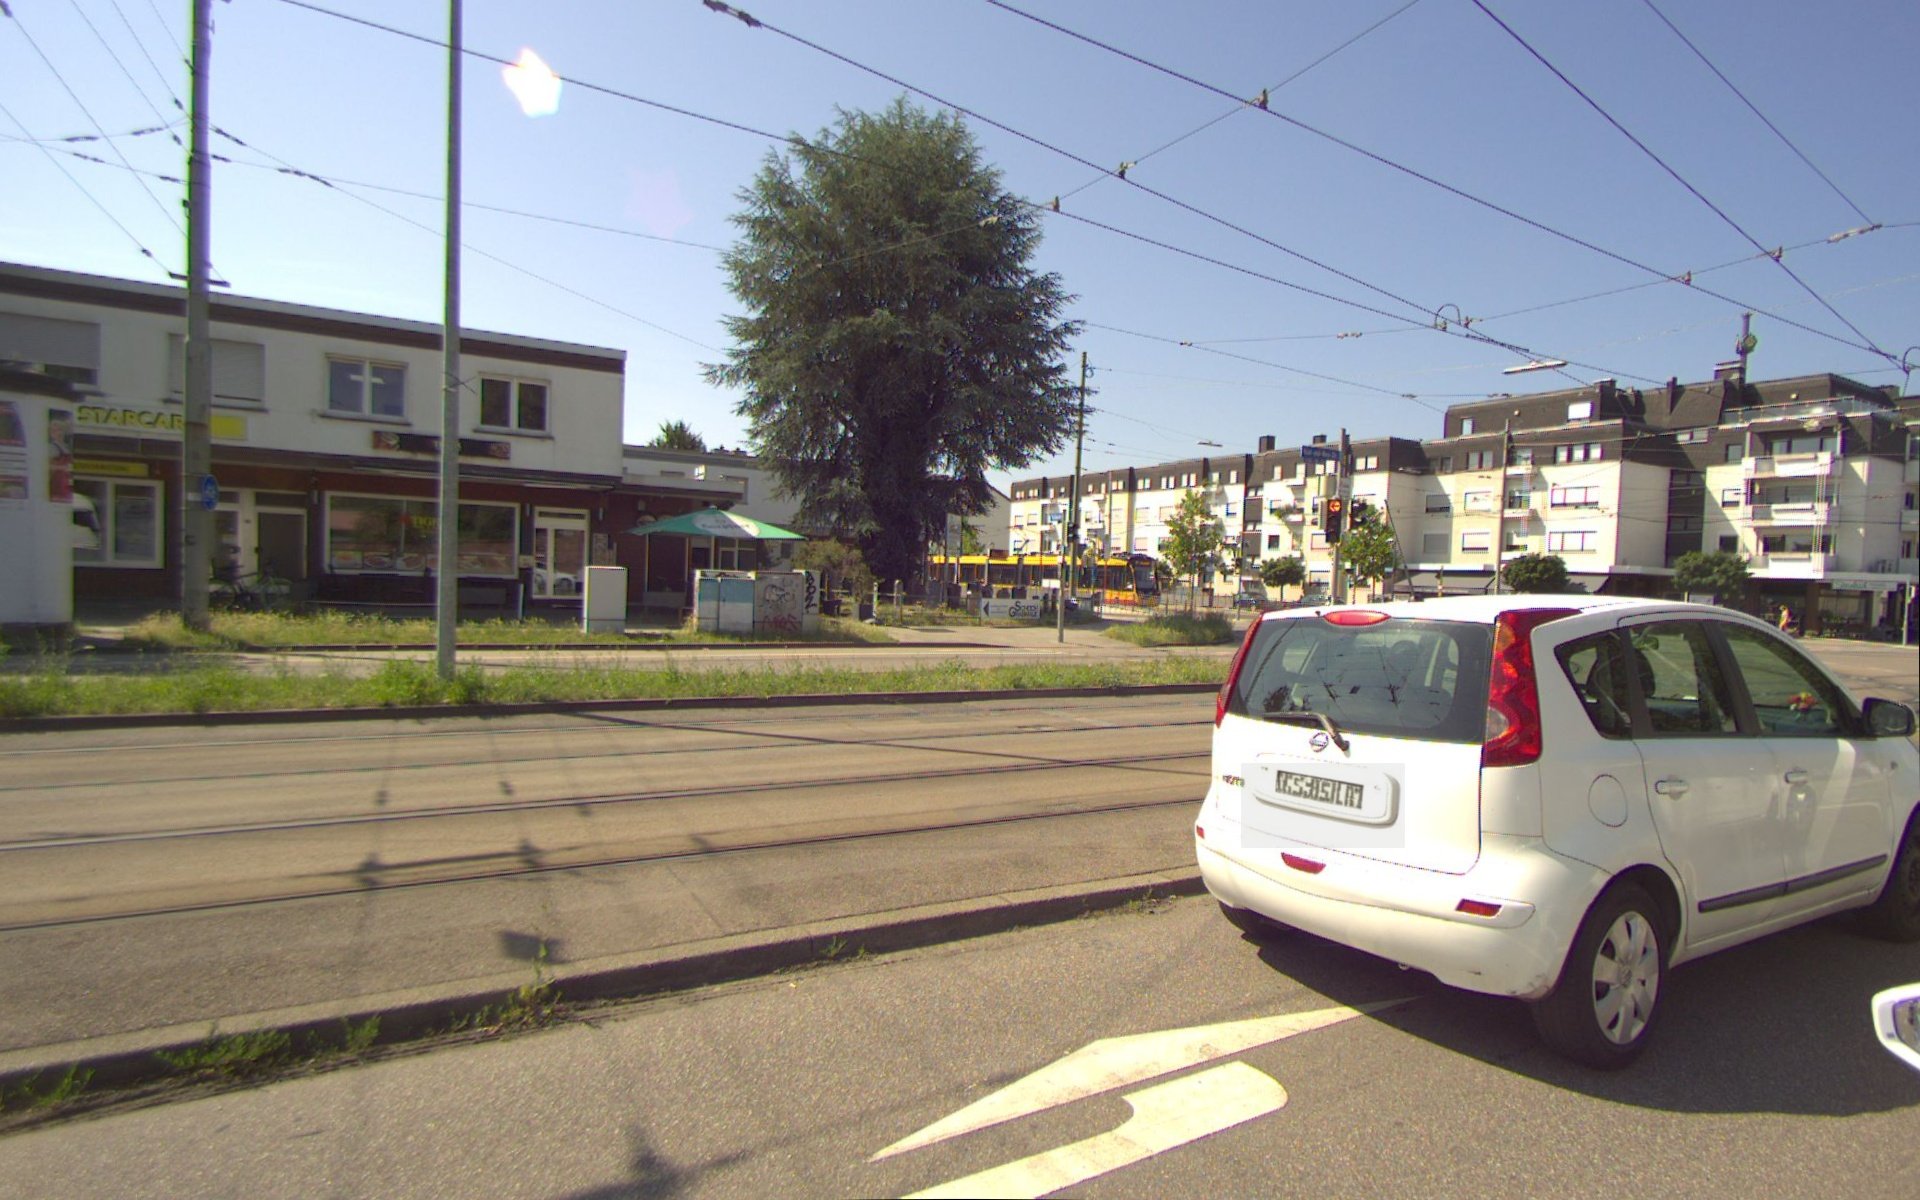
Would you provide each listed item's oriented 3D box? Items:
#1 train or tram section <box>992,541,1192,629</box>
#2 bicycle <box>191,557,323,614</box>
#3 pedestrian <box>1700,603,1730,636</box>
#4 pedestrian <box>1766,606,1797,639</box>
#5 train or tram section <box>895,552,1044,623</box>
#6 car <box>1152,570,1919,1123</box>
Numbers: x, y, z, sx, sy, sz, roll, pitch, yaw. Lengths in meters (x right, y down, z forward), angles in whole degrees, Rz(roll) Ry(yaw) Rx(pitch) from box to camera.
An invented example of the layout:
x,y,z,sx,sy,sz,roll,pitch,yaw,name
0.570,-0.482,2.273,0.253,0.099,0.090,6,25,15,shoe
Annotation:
x,y,z,sx,sy,sz,roll,pitch,yaw,name
8.528,-0.891,69.384,4.681,5.217,16.121,2,-1,-30,train or tram section
-15.519,-0.292,22.268,2.306,1.167,0.783,2,-1,-30,bicycle
41.239,1.074,54.867,0.955,1.766,0.865,2,-1,9,pedestrian
45.452,1.233,55.581,0.955,1.766,0.865,2,-1,7,pedestrian
0.372,-0.925,83.285,4.681,5.217,16.121,2,-1,-30,train or tram section
2.848,0.718,4.550,3.759,1.587,1.634,0,0,-31,car
